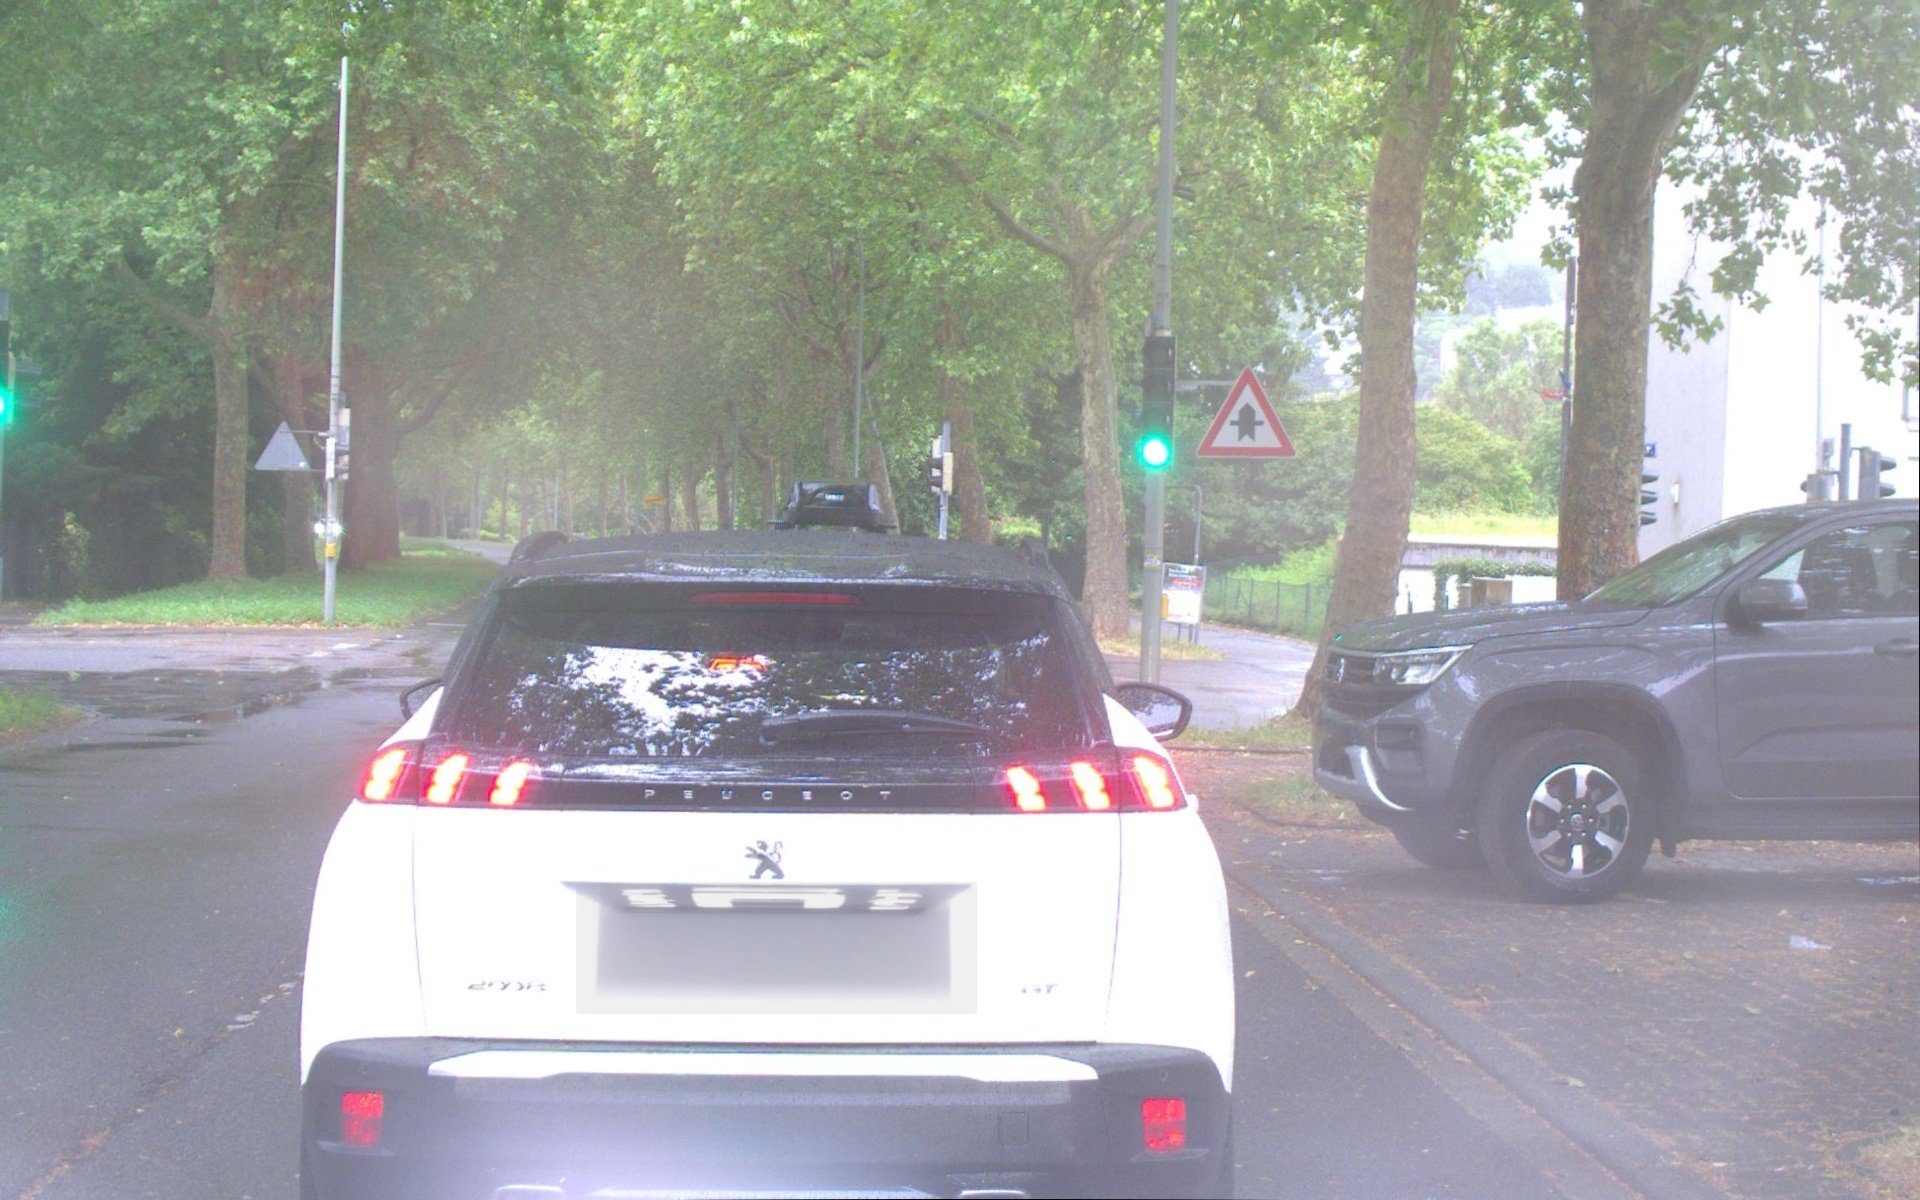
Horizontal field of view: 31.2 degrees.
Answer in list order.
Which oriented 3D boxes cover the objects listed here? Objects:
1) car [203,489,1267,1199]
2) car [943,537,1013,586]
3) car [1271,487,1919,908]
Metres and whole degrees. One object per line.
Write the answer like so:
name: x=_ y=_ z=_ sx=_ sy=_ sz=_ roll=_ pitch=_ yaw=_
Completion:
car: x=-0.421 y=0.552 z=7.857 sx=1.780 sy=1.531 sz=4.058 roll=1 pitch=1 yaw=-1
car: x=0.573 y=-1.251 z=111.712 sx=1.905 sy=1.504 sz=3.932 roll=2 pitch=1 yaw=-5
car: x=4.272 y=0.431 z=15.961 sx=5.337 sy=1.800 sz=1.846 roll=1 pitch=1 yaw=-7
